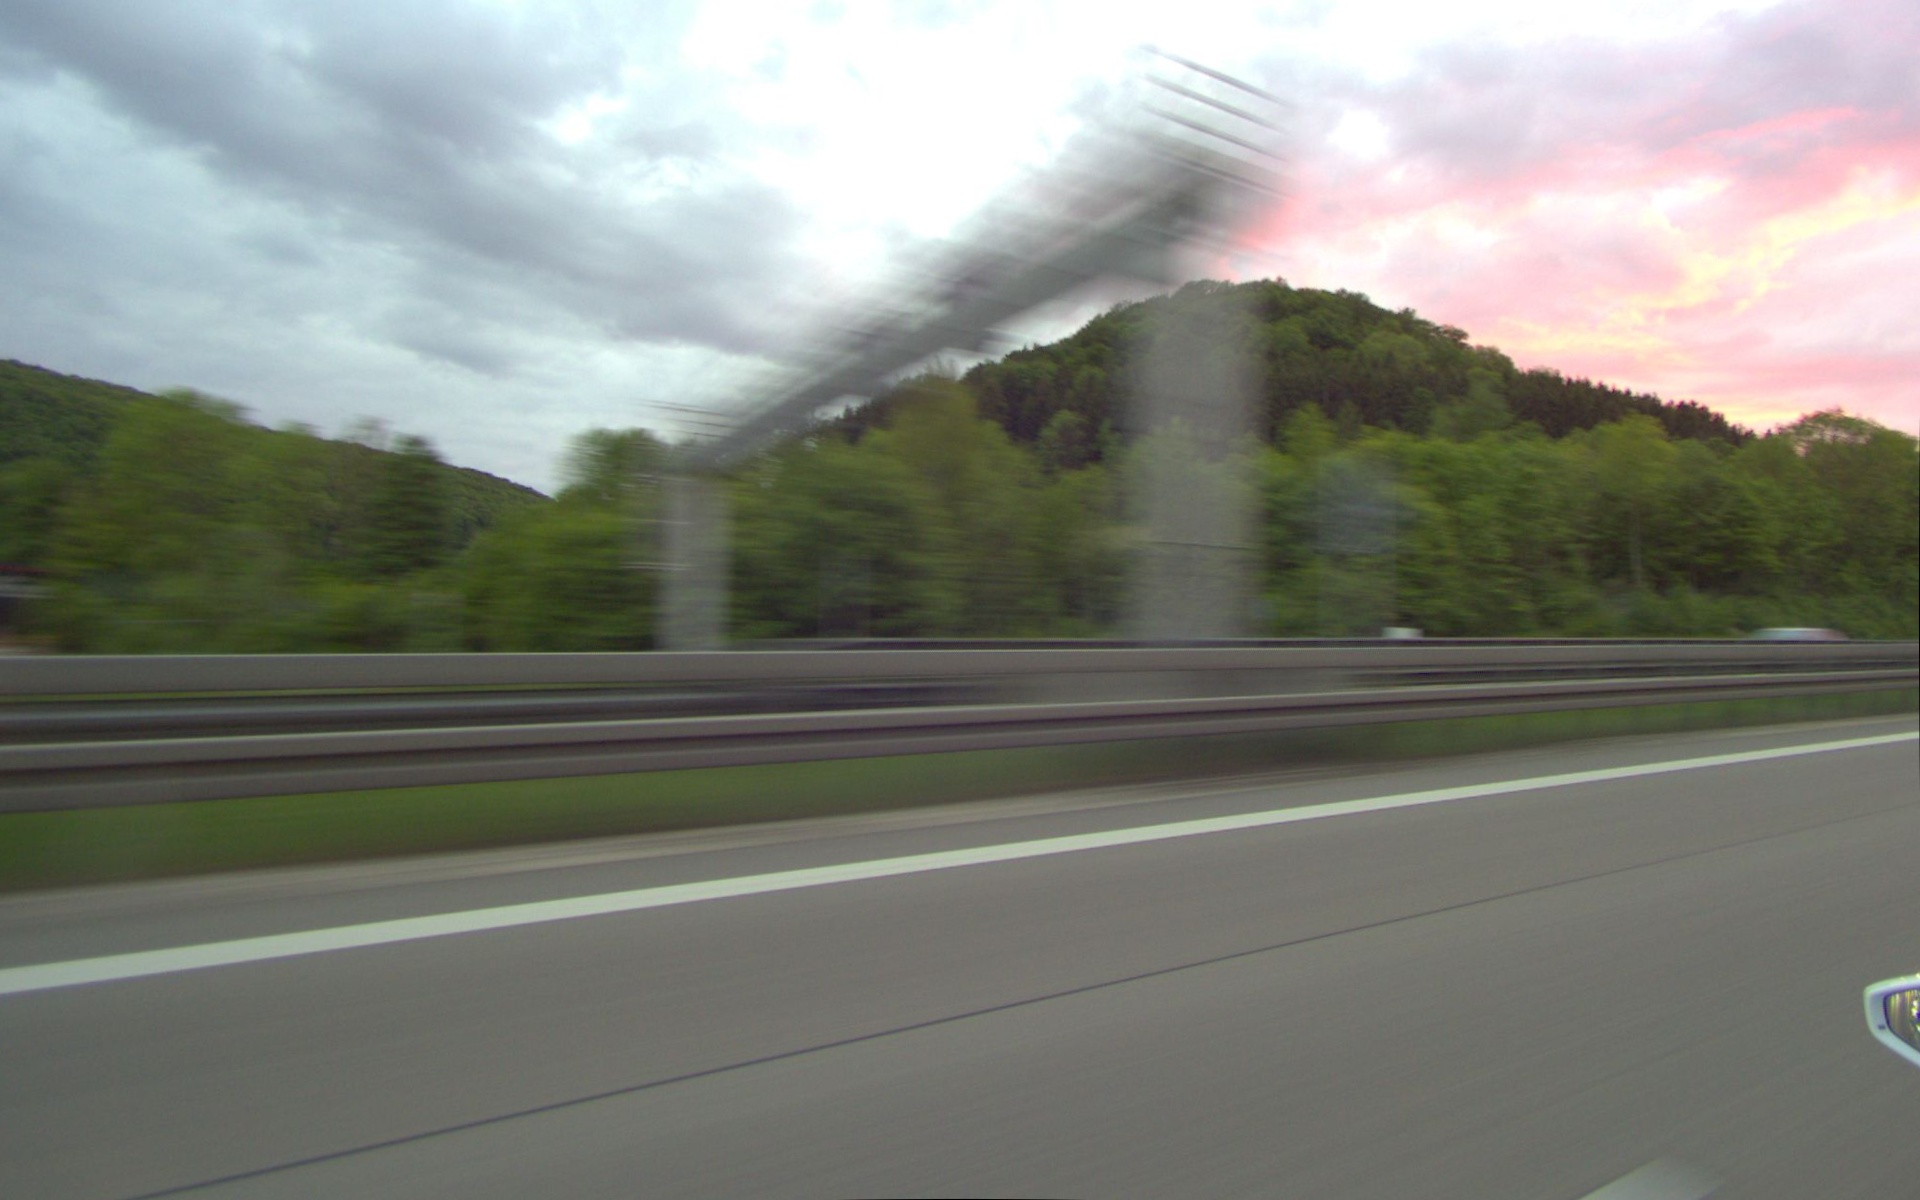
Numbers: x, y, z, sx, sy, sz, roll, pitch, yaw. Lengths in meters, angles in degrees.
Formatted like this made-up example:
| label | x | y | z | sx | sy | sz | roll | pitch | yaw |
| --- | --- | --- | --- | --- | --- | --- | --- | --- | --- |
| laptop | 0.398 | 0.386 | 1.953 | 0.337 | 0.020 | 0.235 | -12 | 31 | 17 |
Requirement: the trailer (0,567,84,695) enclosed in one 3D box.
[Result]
| label | x | y | z | sx | sy | sz | roll | pitch | yaw |
| --- | --- | --- | --- | --- | --- | --- | --- | --- | --- |
| trailer | -34.579 | 0.842 | 30.600 | 13.078 | 3.728 | 3.072 | 1 | 0 | 0 |

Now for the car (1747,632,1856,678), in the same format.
| label | x | y | z | sx | sy | sz | roll | pitch | yaw |
| --- | --- | --- | --- | --- | --- | --- | --- | --- | --- |
| car | 31.541 | 2.022 | 37.623 | 4.591 | 1.607 | 1.721 | 1 | -1 | -31 |
